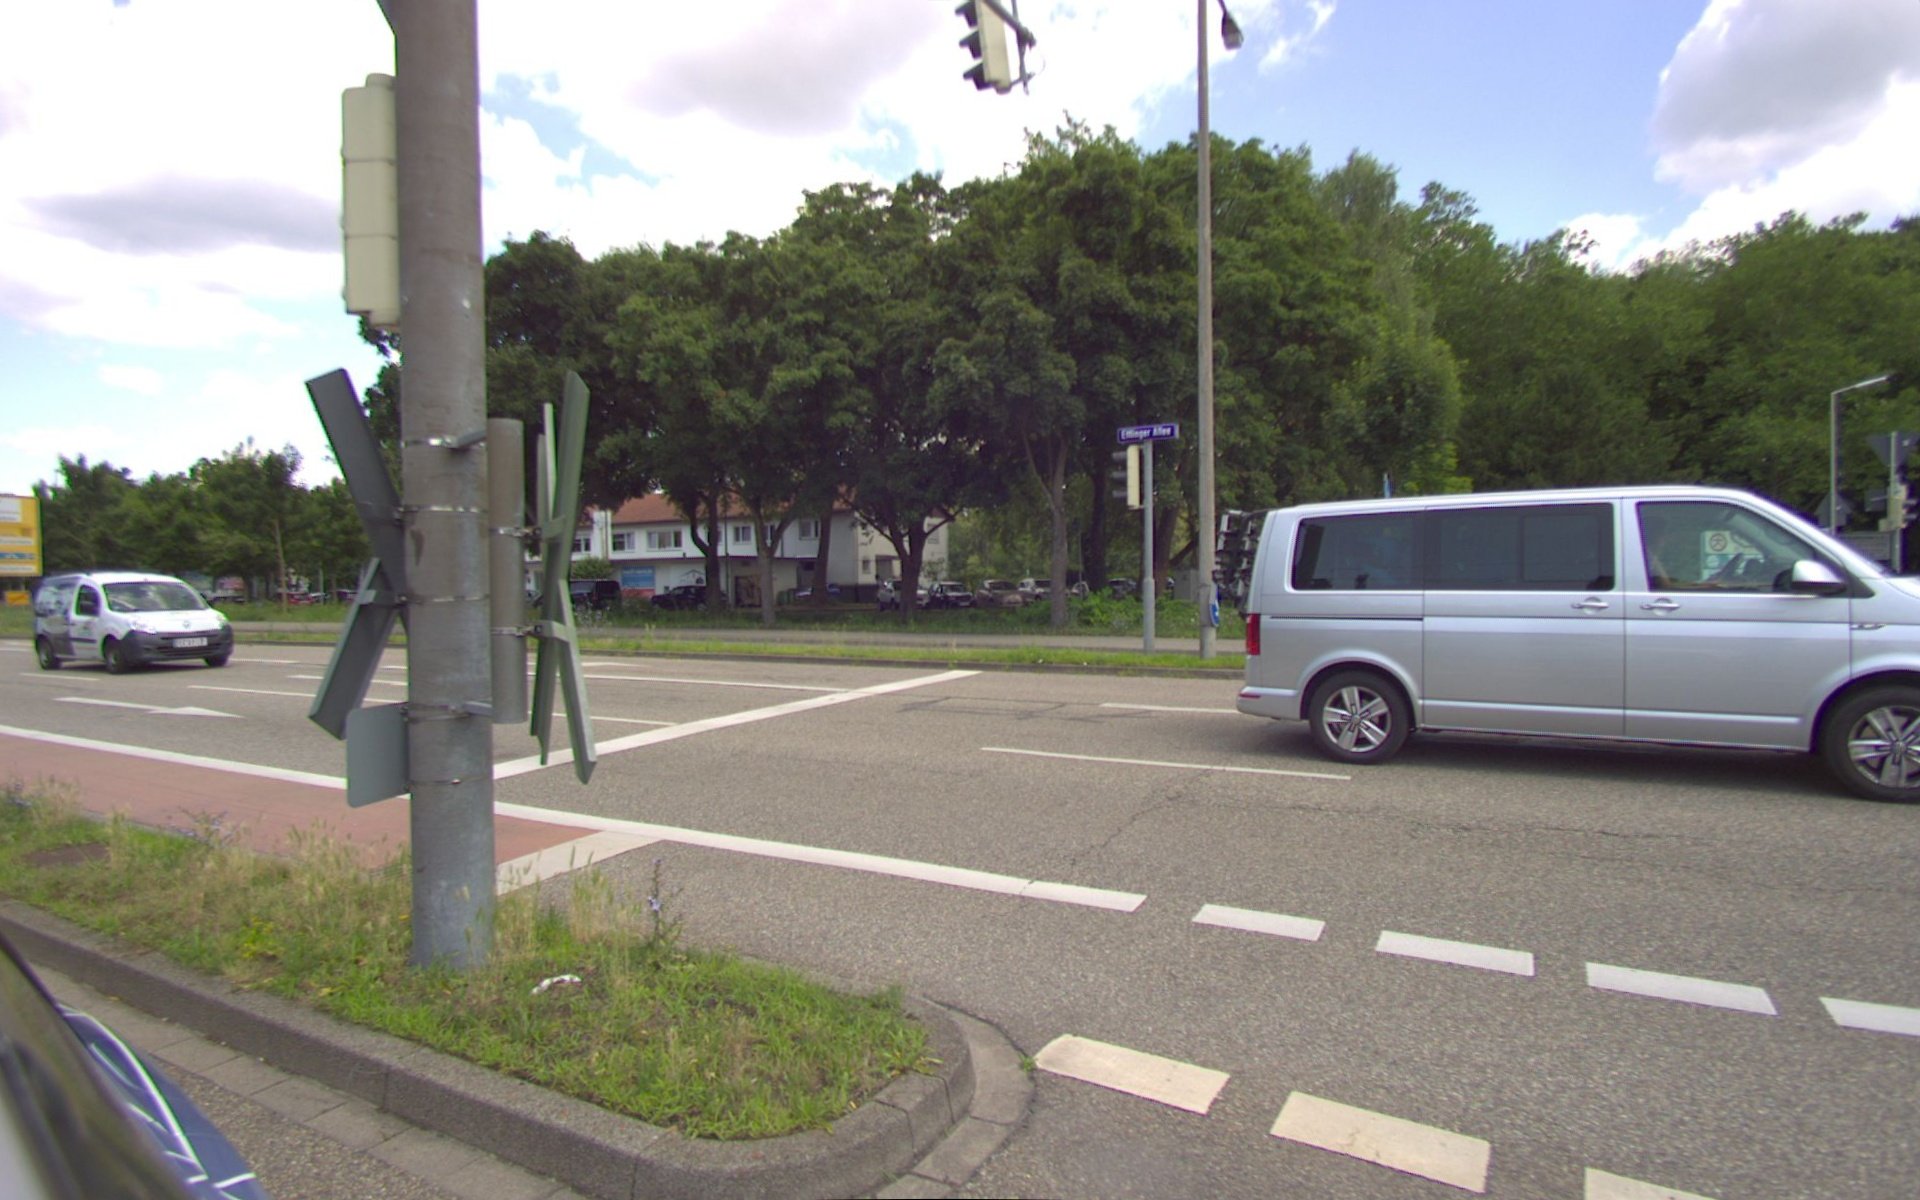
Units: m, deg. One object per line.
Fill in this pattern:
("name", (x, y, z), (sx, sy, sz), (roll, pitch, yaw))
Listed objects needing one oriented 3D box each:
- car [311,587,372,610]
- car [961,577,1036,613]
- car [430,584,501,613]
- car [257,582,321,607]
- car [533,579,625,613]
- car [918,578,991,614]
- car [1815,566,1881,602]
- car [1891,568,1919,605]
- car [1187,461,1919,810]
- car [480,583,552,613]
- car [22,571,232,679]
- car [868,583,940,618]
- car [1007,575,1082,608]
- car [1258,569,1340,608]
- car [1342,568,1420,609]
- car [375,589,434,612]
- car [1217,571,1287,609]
("car", (-39.179, -0.089, 64.105), (3.851, 1.422, 1.713), (-1, 0, 31))
("car", (1.799, -0.228, 48.695), (1.965, 1.599, 4.036), (-1, -1, -24))
("car", (-28.391, -0.070, 58.081), (4.008, 1.599, 1.745), (-1, 0, 31))
("car", (-44.647, -0.341, 67.336), (4.008, 1.599, 1.979), (-1, 0, 31))
("car", (-20.034, -0.190, 53.109), (4.911, 1.723, 1.869), (-1, 0, 31))
("car", (-0.314, -0.198, 47.574), (1.965, 1.599, 4.036), (-1, 0, -24))
("car", (40.047, -0.731, 45.720), (1.614, 1.519, 3.582), (0, 2, 31))
("car", (42.292, -0.604, 44.217), (1.614, 1.519, 3.582), (0, 2, 31))
("car", (4.436, 0.195, 7.214), (5.214, 1.933, 1.800), (0, 0, 32))
("car", (-24.571, -0.114, 55.995), (3.652, 1.599, 1.903), (-1, 0, 31))
("car", (-15.440, 0.405, 18.716), (4.142, 1.798, 1.730), (0, 2, 32))
("car", (-2.626, 0.002, 46.415), (1.965, 1.495, 4.036), (-1, 0, -24))
("car", (4.095, -0.405, 49.580), (1.965, 1.557, 4.036), (-1, 0, -24))
("car", (15.880, -0.524, 47.234), (2.045, 1.738, 4.515), (0, 0, 41))
("car", (19.165, -0.521, 45.968), (2.075, 1.738, 4.071), (0, 0, 41))
("car", (-33.372, 0.036, 60.811), (3.463, 1.341, 1.610), (-1, 0, 31))
("car", (14.096, -0.502, 48.721), (1.817, 1.722, 4.075), (0, 1, 38))
